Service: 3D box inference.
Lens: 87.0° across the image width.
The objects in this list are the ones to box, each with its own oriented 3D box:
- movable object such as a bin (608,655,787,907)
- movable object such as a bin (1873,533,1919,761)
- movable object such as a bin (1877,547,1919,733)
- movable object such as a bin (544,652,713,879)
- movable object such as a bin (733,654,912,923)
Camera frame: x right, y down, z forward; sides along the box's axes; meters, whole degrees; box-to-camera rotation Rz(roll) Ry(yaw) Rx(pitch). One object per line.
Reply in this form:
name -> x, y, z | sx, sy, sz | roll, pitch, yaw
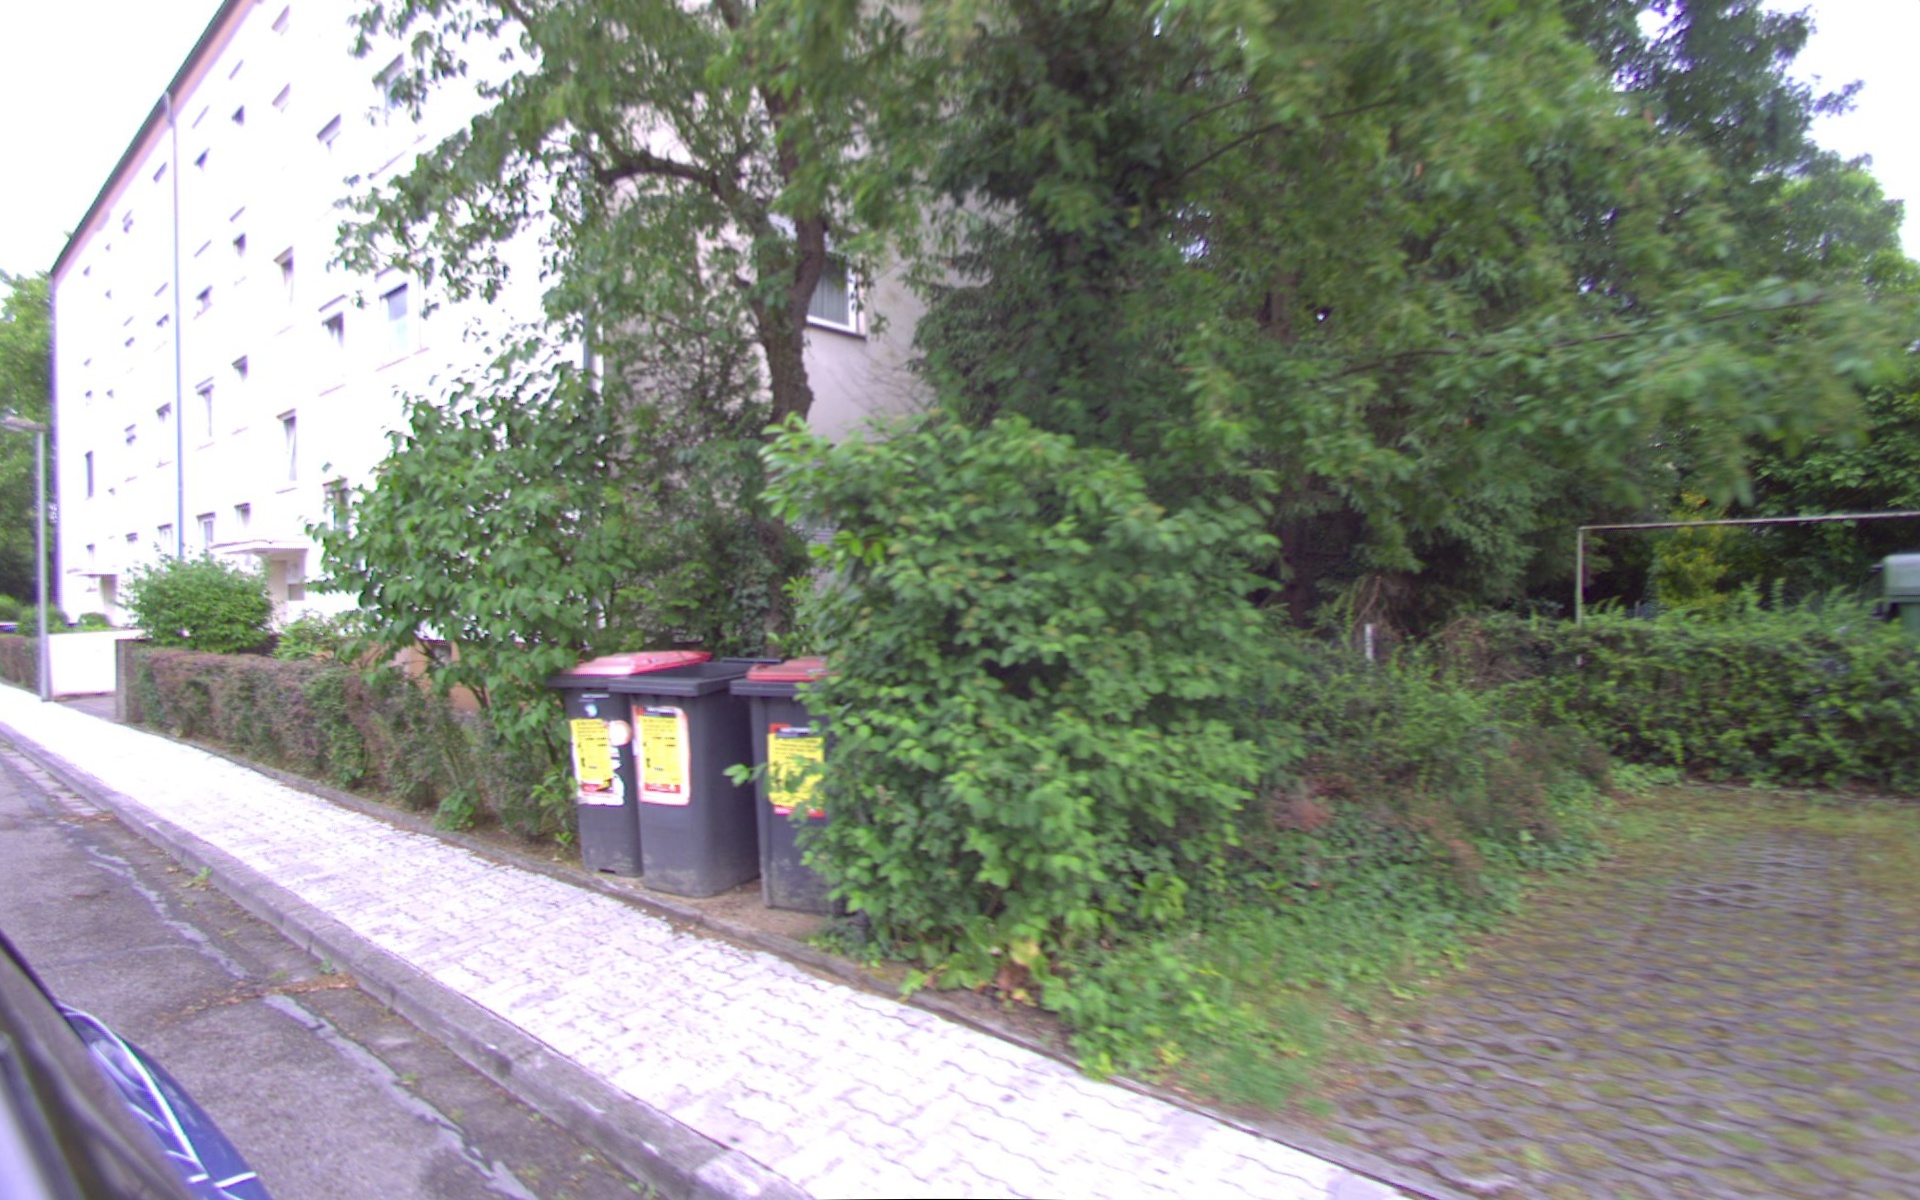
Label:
movable object such as a bin -> -1.174, 0.770, 4.593 | 0.534, 1.030, 0.592 | -1, -3, 22
movable object such as a bin -> 6.885, 0.294, 6.472 | 1.478, 1.445, 1.093 | -1, -1, 40
movable object such as a bin -> 8.211, 0.305, 7.902 | 1.478, 1.445, 1.093 | -1, -1, 40
movable object such as a bin -> -1.637, 0.781, 5.041 | 0.534, 1.030, 0.592 | -1, -3, 22
movable object such as a bin -> -0.573, 0.754, 4.329 | 0.534, 1.030, 0.592 | -1, -3, 22
